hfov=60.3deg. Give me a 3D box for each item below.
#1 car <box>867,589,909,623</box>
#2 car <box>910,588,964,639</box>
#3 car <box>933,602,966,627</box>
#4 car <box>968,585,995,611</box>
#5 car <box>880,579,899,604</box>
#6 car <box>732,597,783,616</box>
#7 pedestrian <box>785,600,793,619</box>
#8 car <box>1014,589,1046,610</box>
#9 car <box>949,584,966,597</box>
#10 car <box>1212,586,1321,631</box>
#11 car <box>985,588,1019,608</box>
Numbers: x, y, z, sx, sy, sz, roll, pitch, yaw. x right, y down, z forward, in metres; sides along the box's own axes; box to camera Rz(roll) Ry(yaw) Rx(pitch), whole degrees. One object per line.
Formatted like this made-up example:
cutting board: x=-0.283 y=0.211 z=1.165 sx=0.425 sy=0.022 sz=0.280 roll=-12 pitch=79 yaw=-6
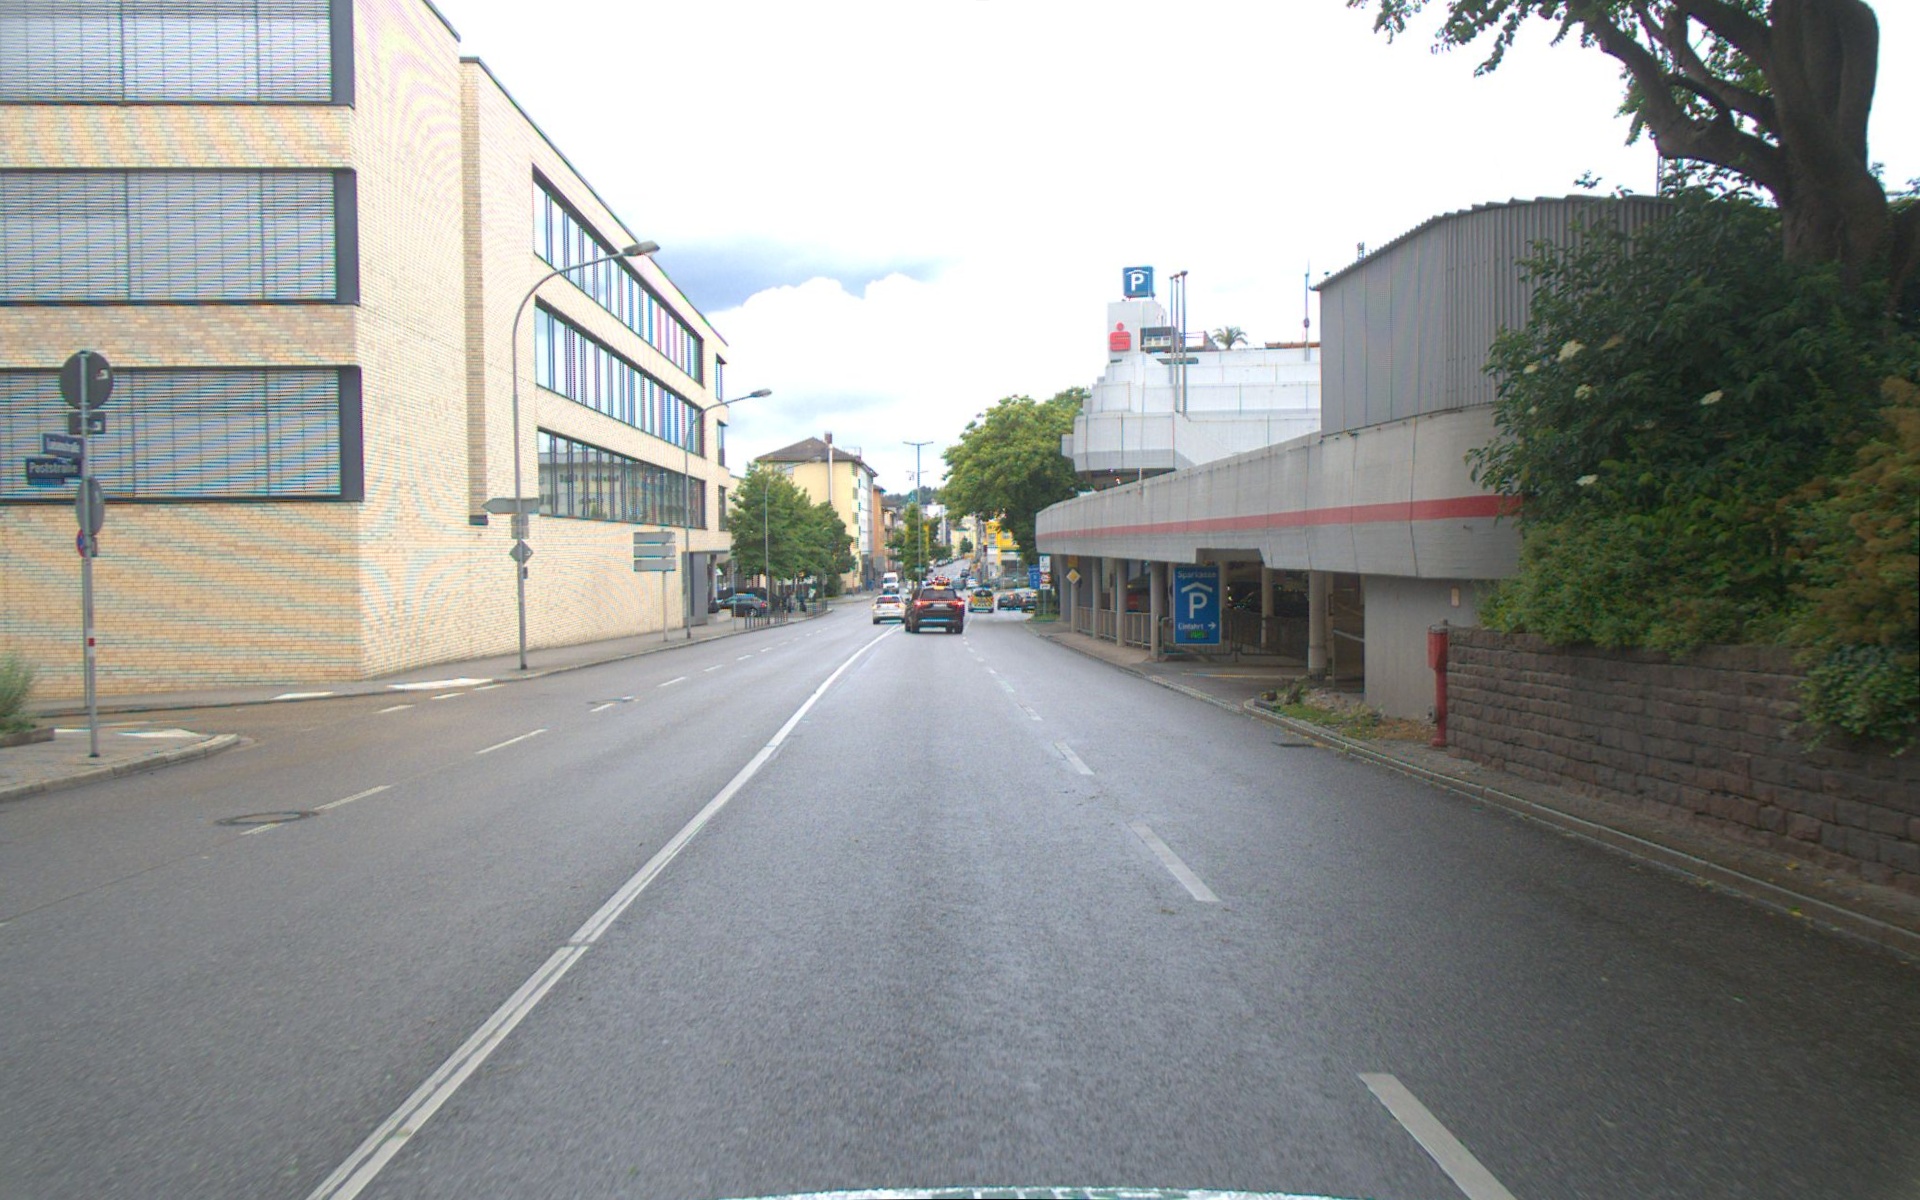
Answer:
car: x=-3.838 y=0.299 z=87.356 sx=1.955 sy=1.709 sz=3.995 roll=-1 pitch=0 yaw=-6
car: x=-0.872 y=0.507 z=64.818 sx=2.049 sy=1.944 sz=4.099 roll=0 pitch=0 yaw=0
car: x=-0.703 y=1.008 z=116.409 sx=1.951 sy=1.709 sz=4.002 roll=-1 pitch=0 yaw=4
car: x=1.727 y=-0.183 z=133.781 sx=2.128 sy=2.039 sz=4.000 roll=-1 pitch=0 yaw=0
car: x=-9.065 y=-1.058 z=212.833 sx=2.141 sy=3.152 sz=4.926 roll=-1 pitch=0 yaw=-5
car: x=-14.241 y=0.469 z=116.412 sx=3.585 sy=1.256 sz=1.439 roll=-1 pitch=0 yaw=-7
pedestrian: x=-12.013 y=0.646 z=115.936 sx=0.444 sy=1.301 sz=0.454 roll=-1 pitch=0 yaw=10
car: x=5.826 y=-0.070 z=137.155 sx=1.951 sy=1.709 sz=4.004 roll=-1 pitch=0 yaw=12
car: x=-0.324 y=-1.293 z=221.707 sx=1.954 sy=1.709 sz=3.997 roll=-1 pitch=2 yaw=-4
car: x=10.657 y=0.293 z=57.656 sx=3.639 sy=1.501 sz=1.688 roll=-1 pitch=0 yaw=9
car: x=3.678 y=-0.172 z=143.809 sx=1.951 sy=1.709 sz=4.003 roll=-1 pitch=0 yaw=16
